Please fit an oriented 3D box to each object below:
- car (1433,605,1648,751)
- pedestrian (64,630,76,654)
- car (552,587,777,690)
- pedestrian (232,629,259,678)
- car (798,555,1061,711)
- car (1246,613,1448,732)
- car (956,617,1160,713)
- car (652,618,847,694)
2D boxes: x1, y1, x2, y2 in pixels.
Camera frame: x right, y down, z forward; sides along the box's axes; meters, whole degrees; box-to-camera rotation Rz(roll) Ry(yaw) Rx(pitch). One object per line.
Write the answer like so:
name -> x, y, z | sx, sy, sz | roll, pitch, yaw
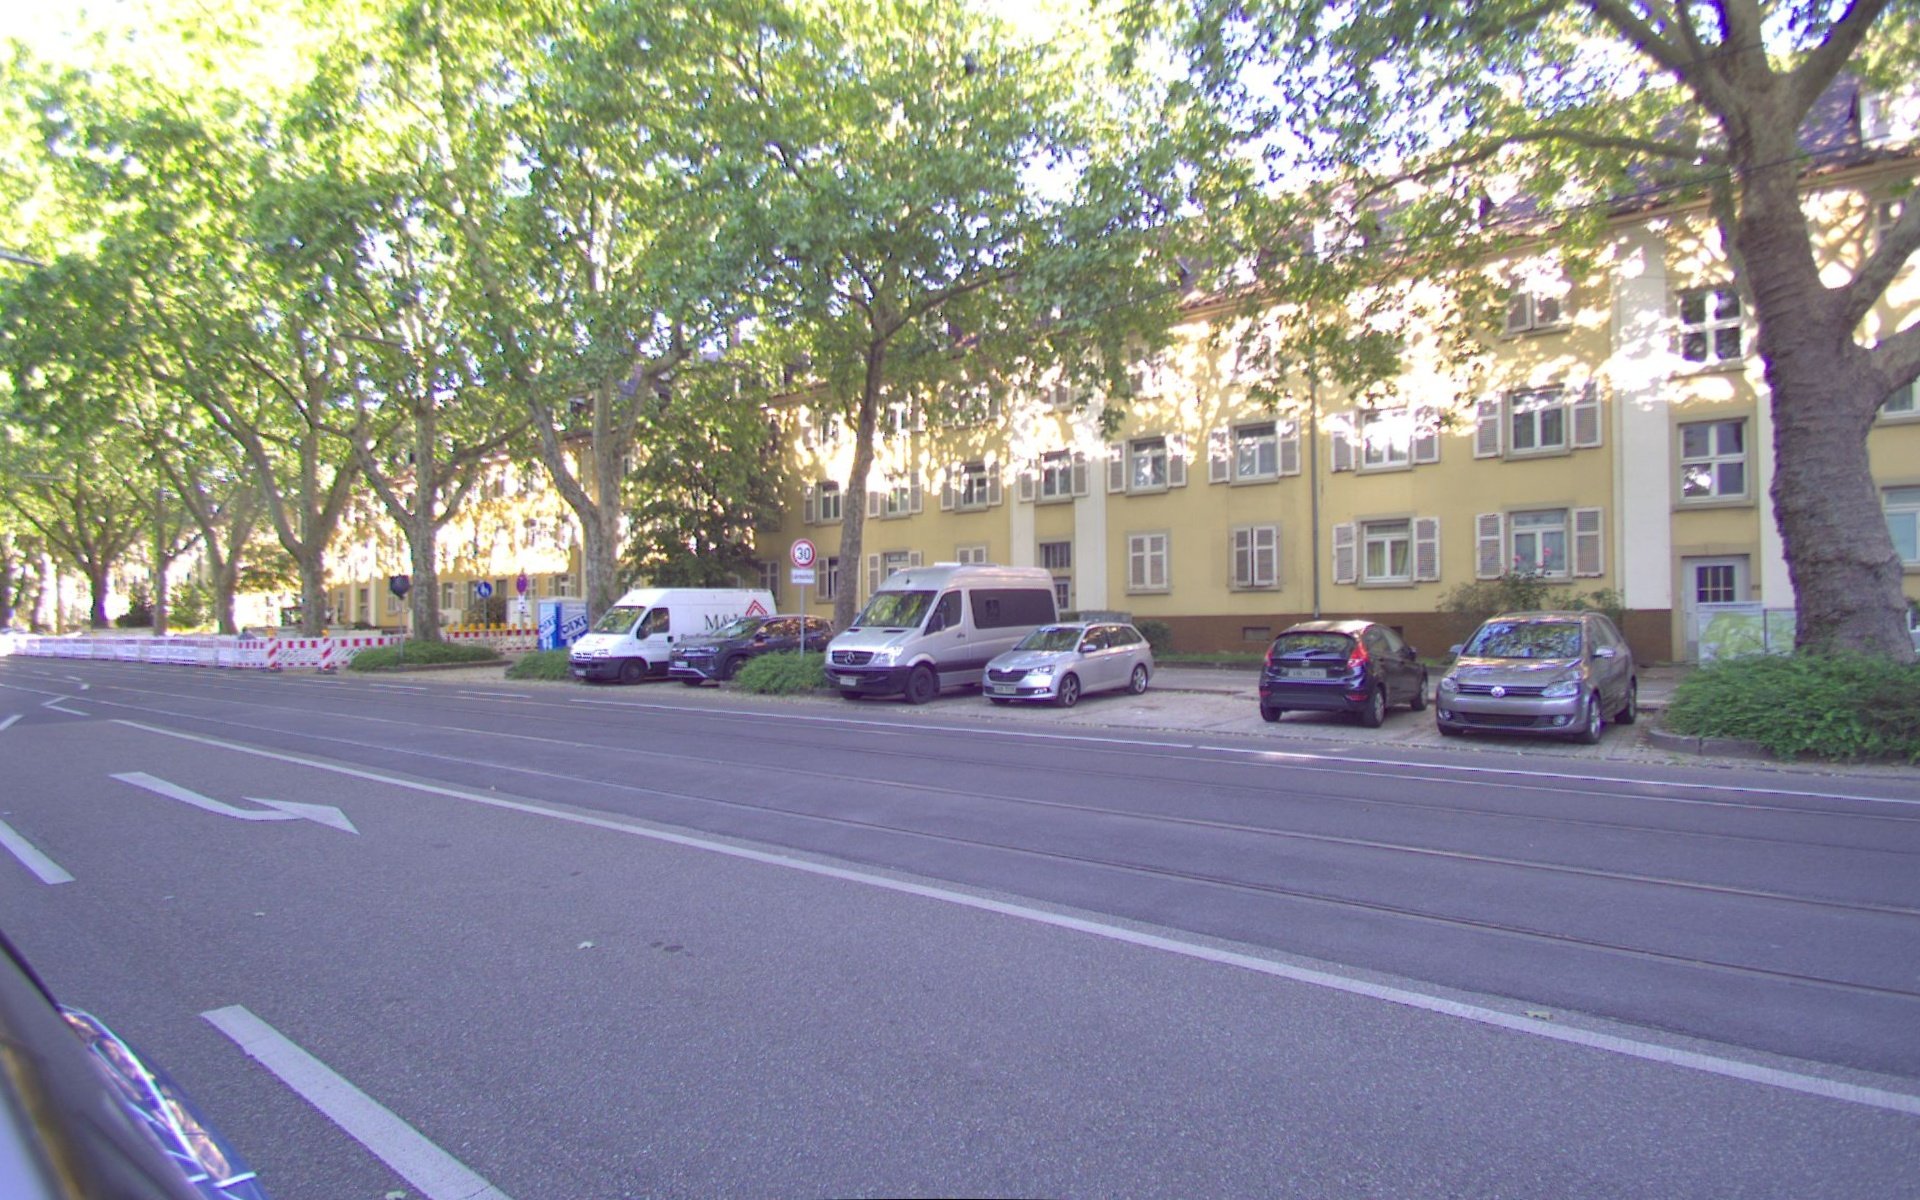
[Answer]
car -> 7.753, 0.898, 13.353 | 1.672, 1.592, 3.928 | -2, -1, 41
pedestrian -> -73.233, 3.436, 83.240 | 0.722, 1.900, 0.666 | -1, 0, -42
car -> -7.553, 0.966, 26.358 | 2.222, 2.394, 5.336 | -2, -2, 40
pedestrian -> -26.536, 1.975, 37.598 | 0.581, 1.759, 0.645 | -1, 0, 32
car -> -0.418, 0.610, 20.432 | 2.221, 2.702, 5.596 | -2, -1, 38
car -> 5.975, 1.001, 15.404 | 1.671, 1.509, 3.756 | -2, -1, 41
car -> 1.921, 1.122, 18.821 | 1.773, 1.509, 4.031 | -2, -1, 41
car -> -4.970, 1.277, 24.432 | 1.772, 1.664, 4.570 | -2, -2, 38
